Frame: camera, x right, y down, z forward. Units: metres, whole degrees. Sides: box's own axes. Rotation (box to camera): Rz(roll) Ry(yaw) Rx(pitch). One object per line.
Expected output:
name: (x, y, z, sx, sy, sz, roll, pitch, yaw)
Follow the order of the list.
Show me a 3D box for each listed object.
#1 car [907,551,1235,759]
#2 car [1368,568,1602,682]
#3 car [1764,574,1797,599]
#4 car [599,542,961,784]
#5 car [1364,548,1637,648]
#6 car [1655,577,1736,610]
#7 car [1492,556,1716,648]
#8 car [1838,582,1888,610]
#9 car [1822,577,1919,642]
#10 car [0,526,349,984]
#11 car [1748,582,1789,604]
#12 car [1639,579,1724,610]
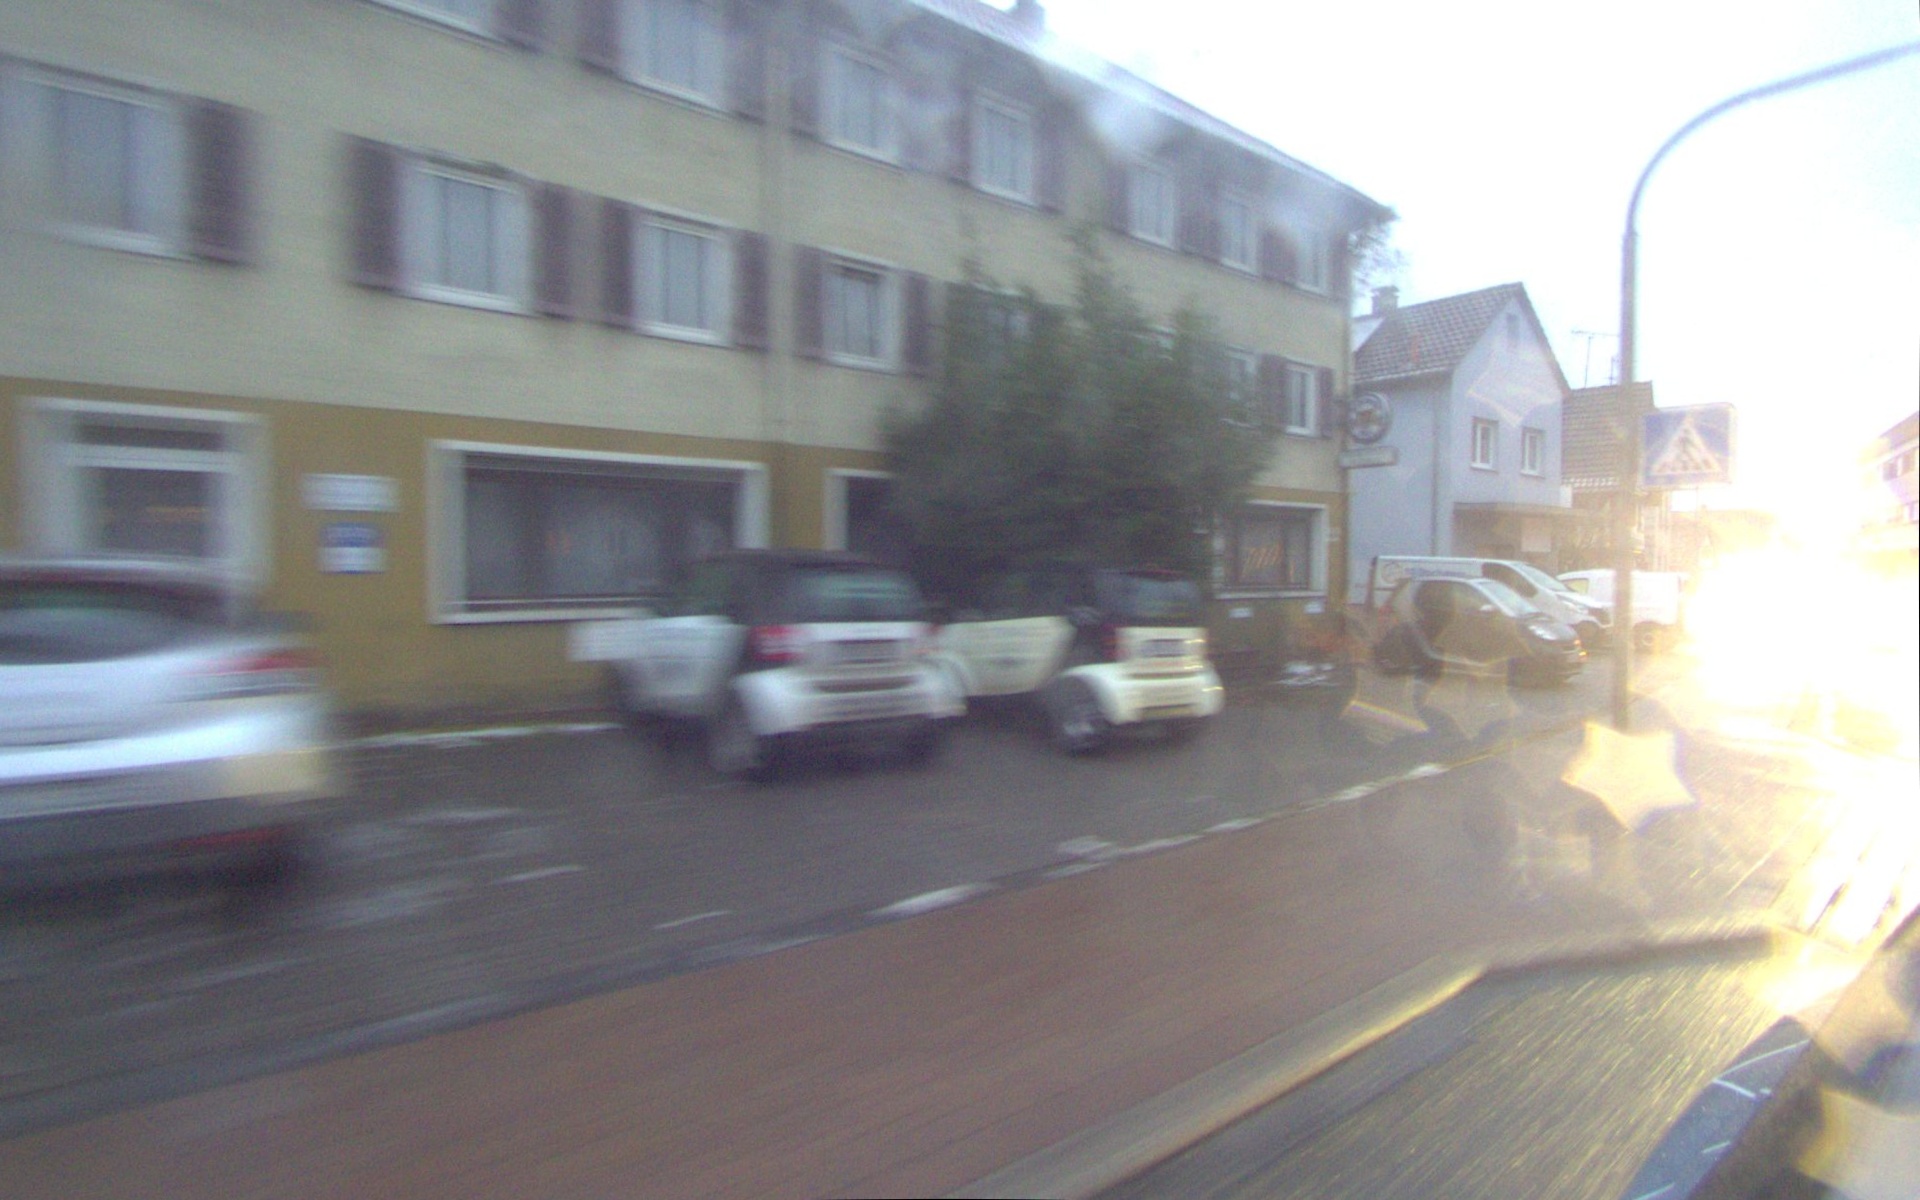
car: (0.927, 0.373, 9.164, 1.524, 1.566, 2.588, 0, 2, -41)
car: (7.786, 0.302, 15.150, 1.402, 1.492, 2.769, -1, 3, -41)
car: (69.215, -1.165, 85.420, 1.826, 2.039, 3.654, -1, 0, 34)
car: (-1.543, 0.318, 7.911, 1.521, 1.492, 3.073, 0, 3, -38)
car: (11.871, -0.135, 22.546, 1.903, 1.912, 4.991, 0, 3, -41)
car: (45.056, -0.421, 62.088, 3.860, 1.900, 1.849, 1, 1, 31)
car: (14.811, -0.028, 23.403, 4.044, 1.865, 1.834, 4, 3, 44)
car: (54.745, -0.261, 61.412, 1.890, 1.637, 3.776, -1, 0, 37)
car: (24.743, 0.222, 27.224, 1.911, 1.638, 3.821, -1, 0, 34)
car: (-4.224, 0.425, 4.898, 1.719, 1.492, 3.911, -1, 3, -38)
car: (55.980, -0.466, 70.133, 1.889, 1.484, 3.951, -1, 0, 34)
car: (41.395, -0.352, 58.144, 3.825, 1.648, 1.593, 2, 1, 32)
